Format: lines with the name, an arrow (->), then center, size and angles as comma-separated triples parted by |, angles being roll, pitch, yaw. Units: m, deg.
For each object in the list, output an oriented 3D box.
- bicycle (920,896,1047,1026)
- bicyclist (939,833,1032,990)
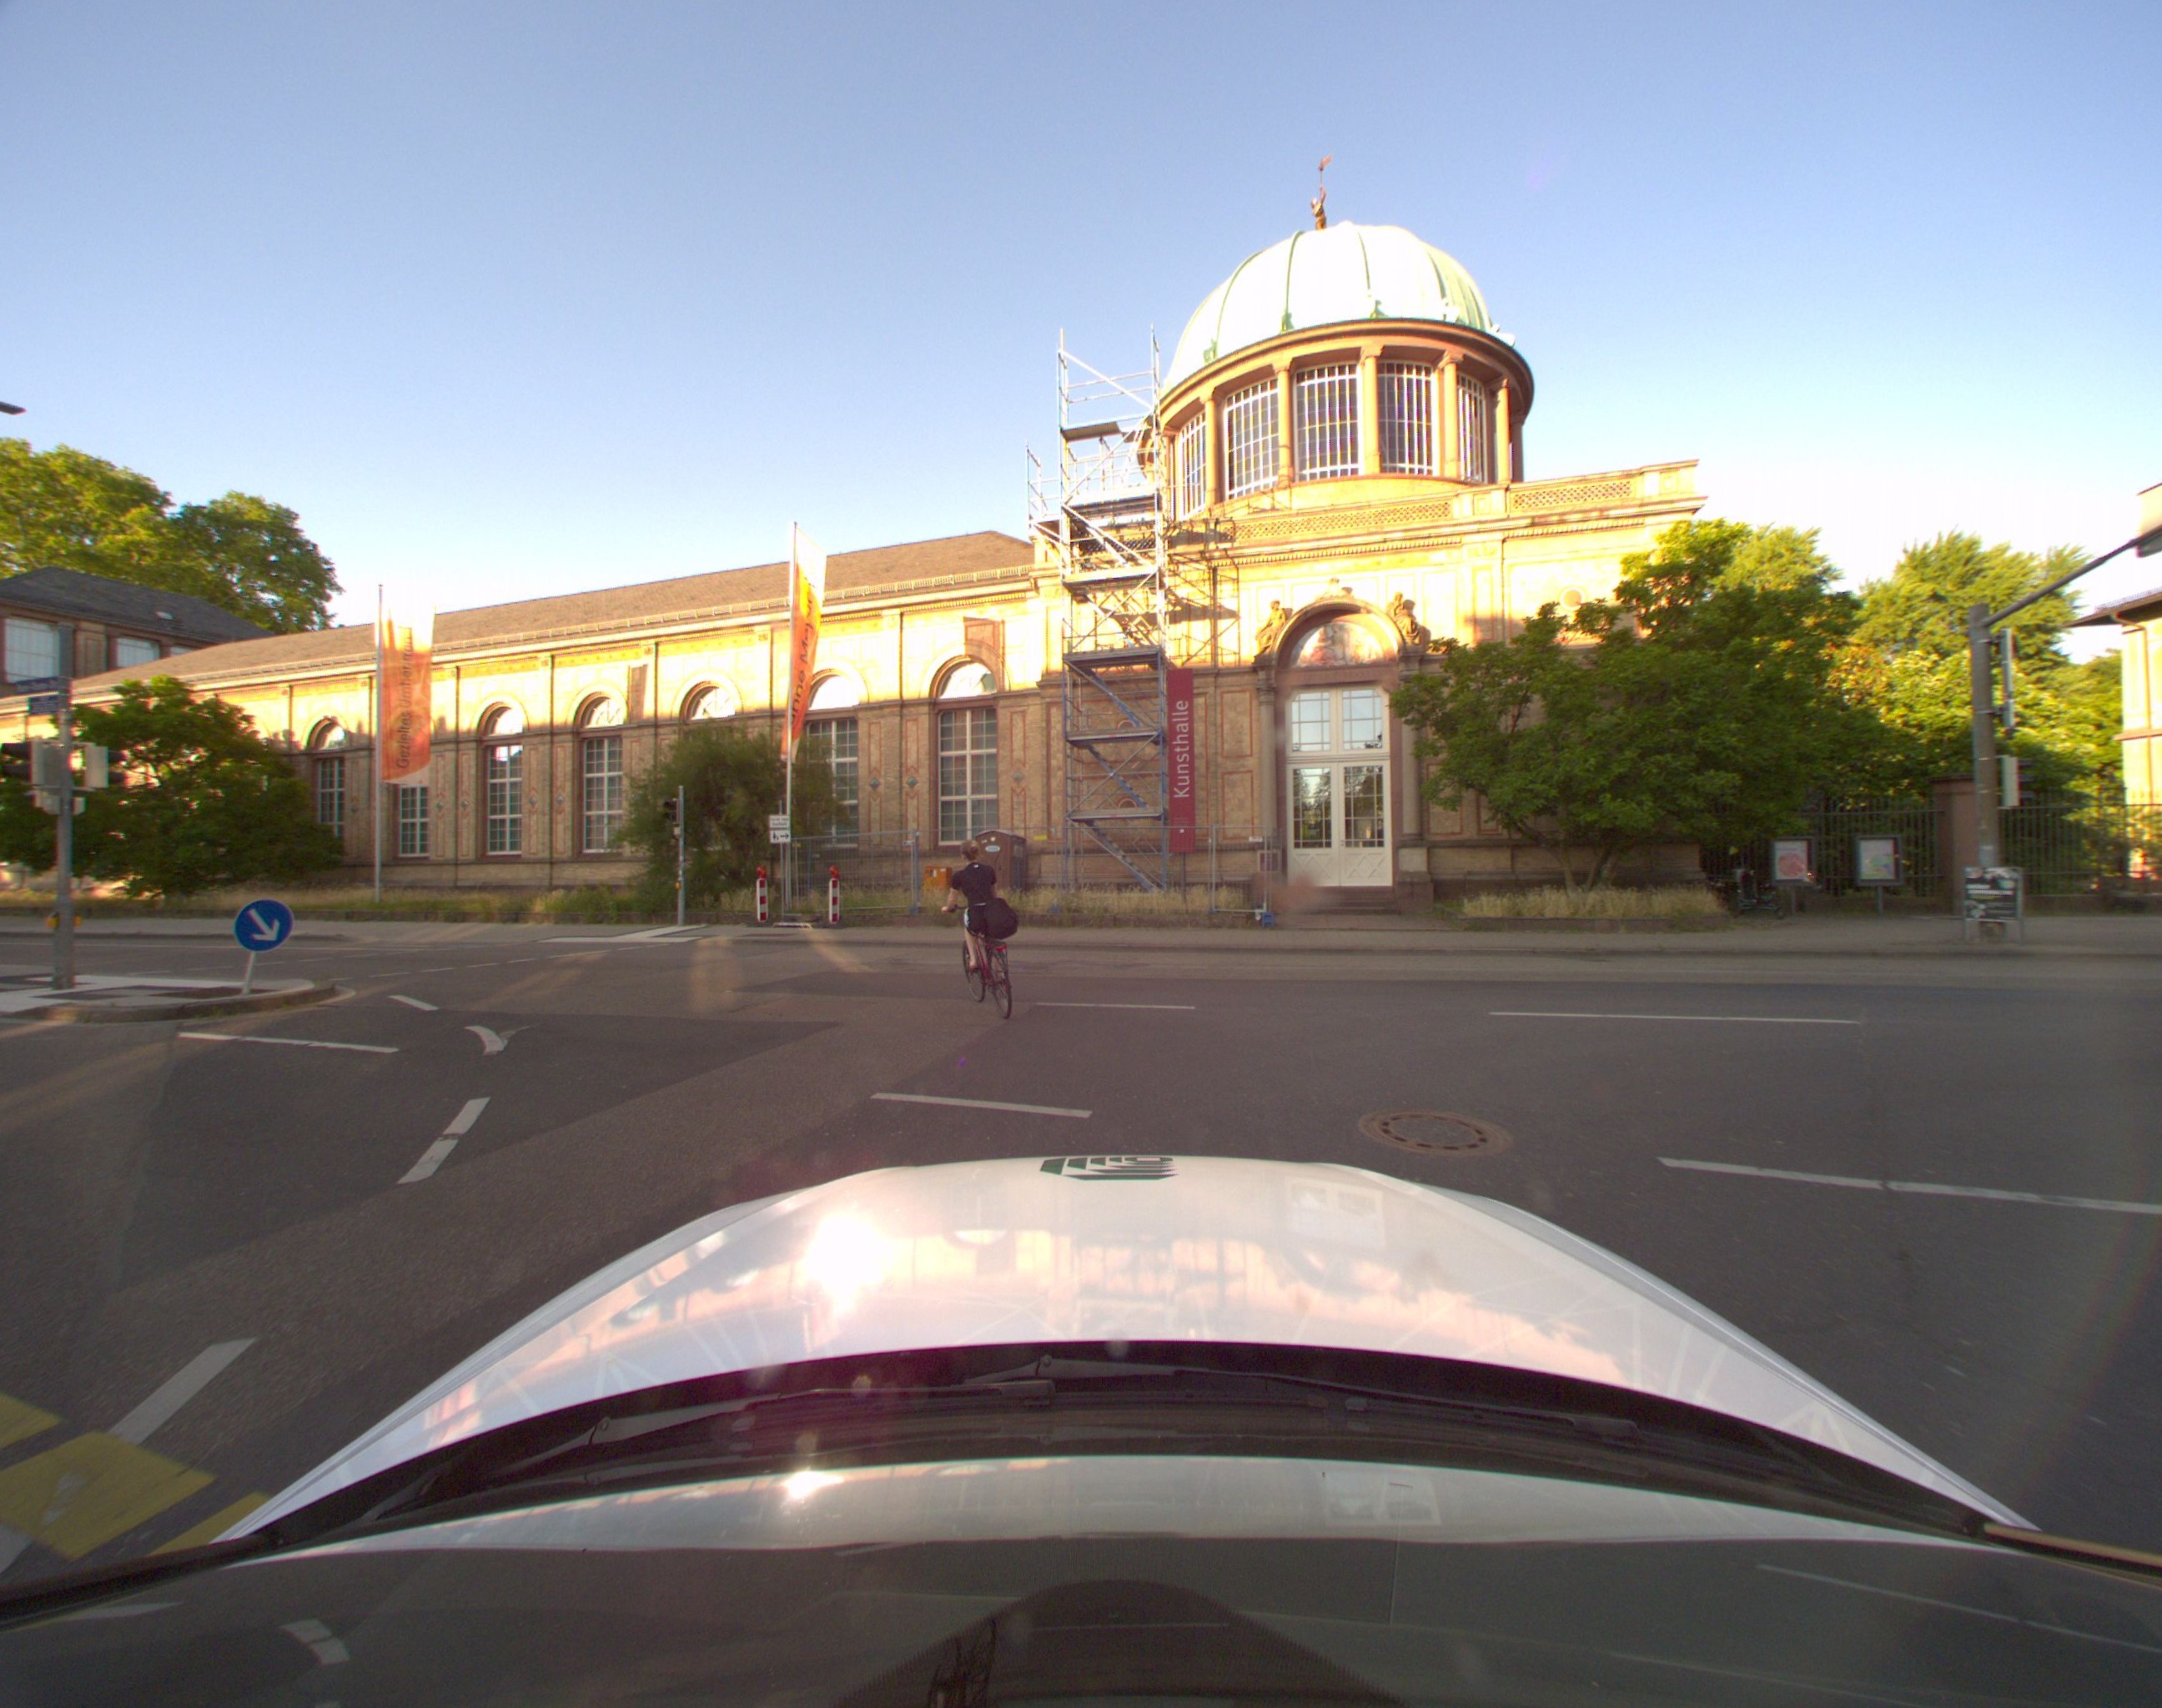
bicycle -> -1.076, 1.030, 8.523 | 0.715, 1.156, 2.051 | 1, -3, -25
bicyclist -> -0.997, 0.569, 8.375 | 0.720, 1.503, 0.843 | 1, -3, -26
